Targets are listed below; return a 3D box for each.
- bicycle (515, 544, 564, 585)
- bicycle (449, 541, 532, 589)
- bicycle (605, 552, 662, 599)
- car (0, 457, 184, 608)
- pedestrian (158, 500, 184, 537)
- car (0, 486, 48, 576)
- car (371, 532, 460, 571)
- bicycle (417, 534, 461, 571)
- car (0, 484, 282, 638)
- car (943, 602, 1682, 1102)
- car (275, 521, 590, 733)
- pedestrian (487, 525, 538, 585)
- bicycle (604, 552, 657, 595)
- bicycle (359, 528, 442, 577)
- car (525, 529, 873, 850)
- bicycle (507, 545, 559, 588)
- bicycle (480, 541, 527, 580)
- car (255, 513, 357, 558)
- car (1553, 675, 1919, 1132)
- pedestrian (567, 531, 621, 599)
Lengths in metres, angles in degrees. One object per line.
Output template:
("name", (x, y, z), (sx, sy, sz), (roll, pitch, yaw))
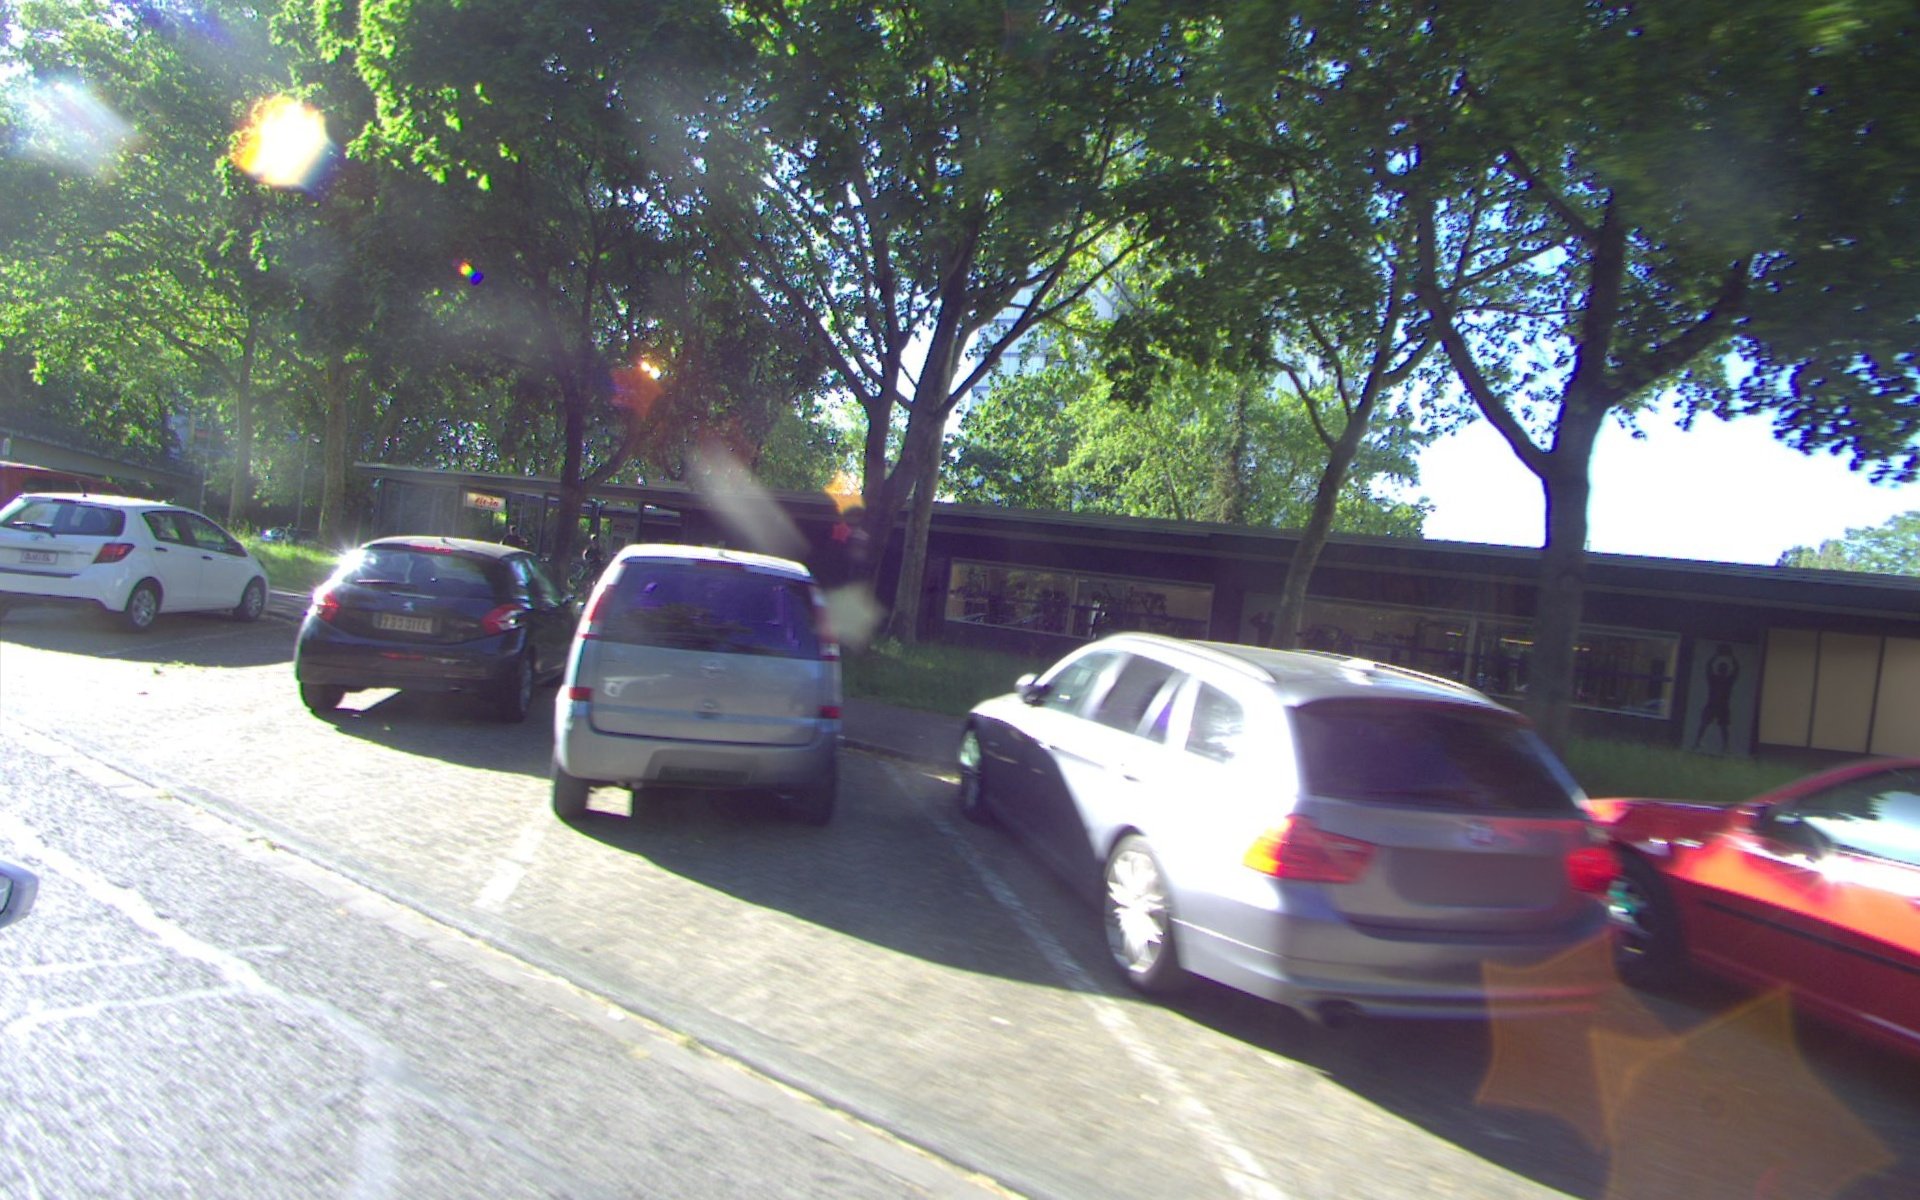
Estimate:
("bicycle", (-15.096, -1.267, 36.110), (1.776, 1.268, 0.576), (6, -1, 32))
("bicycle", (-13.829, -1.024, 29.659), (2.059, 1.172, 0.555), (6, 1, -43))
("bicycle", (-10.270, -0.784, 31.624), (1.776, 1.268, 0.576), (6, -1, 32))
("car", (-13.045, -0.983, 14.099), (1.739, 1.866, 3.941), (6, 1, -11))
("pedestrian", (-41.463, -4.280, 52.837), (0.726, 1.799, 0.659), (8, 1, 24))
("car", (-16.486, -1.193, 15.731), (1.493, 1.491, 3.818), (6, 1, -12))
("car", (-29.564, -2.619, 54.721), (1.638, 1.514, 3.985), (9, 0, 22))
("bicycle", (-20.247, -1.847, 39.085), (1.776, 1.268, 0.576), (6, -1, 32))
("car", (-10.234, -0.491, 12.456), (1.654, 1.514, 3.618), (6, 1, -11))
("car", (1.227, 0.902, 5.390), (1.659, 1.421, 4.073), (6, 1, -14))
("car", (-4.698, 0.164, 9.552), (1.655, 1.477, 3.734), (6, 1, -13))
("pedestrian", (-13.951, -1.394, 31.374), (0.719, 1.729, 1.130), (7, 1, 24))
("bicycle", (-11.162, -0.896, 34.051), (1.776, 1.268, 0.576), (6, -1, 32))
("bicycle", (-15.745, -1.323, 28.366), (0.551, 1.172, 2.071), (7, 1, 22))
("car", (-1.829, 0.435, 7.200), (1.673, 1.611, 3.709), (6, 1, -15))
("bicycle", (-14.450, -1.138, 34.033), (1.776, 1.268, 0.576), (6, -1, 32))
("bicycle", (-16.856, -1.465, 37.128), (1.776, 1.268, 0.576), (6, -1, 32))
("car", (-32.189, -3.151, 49.569), (1.680, 1.514, 3.736), (10, 0, 30))
("car", (4.301, 1.253, 3.625), (1.682, 1.439, 3.566), (5, 1, -10))
("pedestrian", (-10.895, -1.036, 29.996), (0.935, 1.863, 0.966), (7, 1, 24))
